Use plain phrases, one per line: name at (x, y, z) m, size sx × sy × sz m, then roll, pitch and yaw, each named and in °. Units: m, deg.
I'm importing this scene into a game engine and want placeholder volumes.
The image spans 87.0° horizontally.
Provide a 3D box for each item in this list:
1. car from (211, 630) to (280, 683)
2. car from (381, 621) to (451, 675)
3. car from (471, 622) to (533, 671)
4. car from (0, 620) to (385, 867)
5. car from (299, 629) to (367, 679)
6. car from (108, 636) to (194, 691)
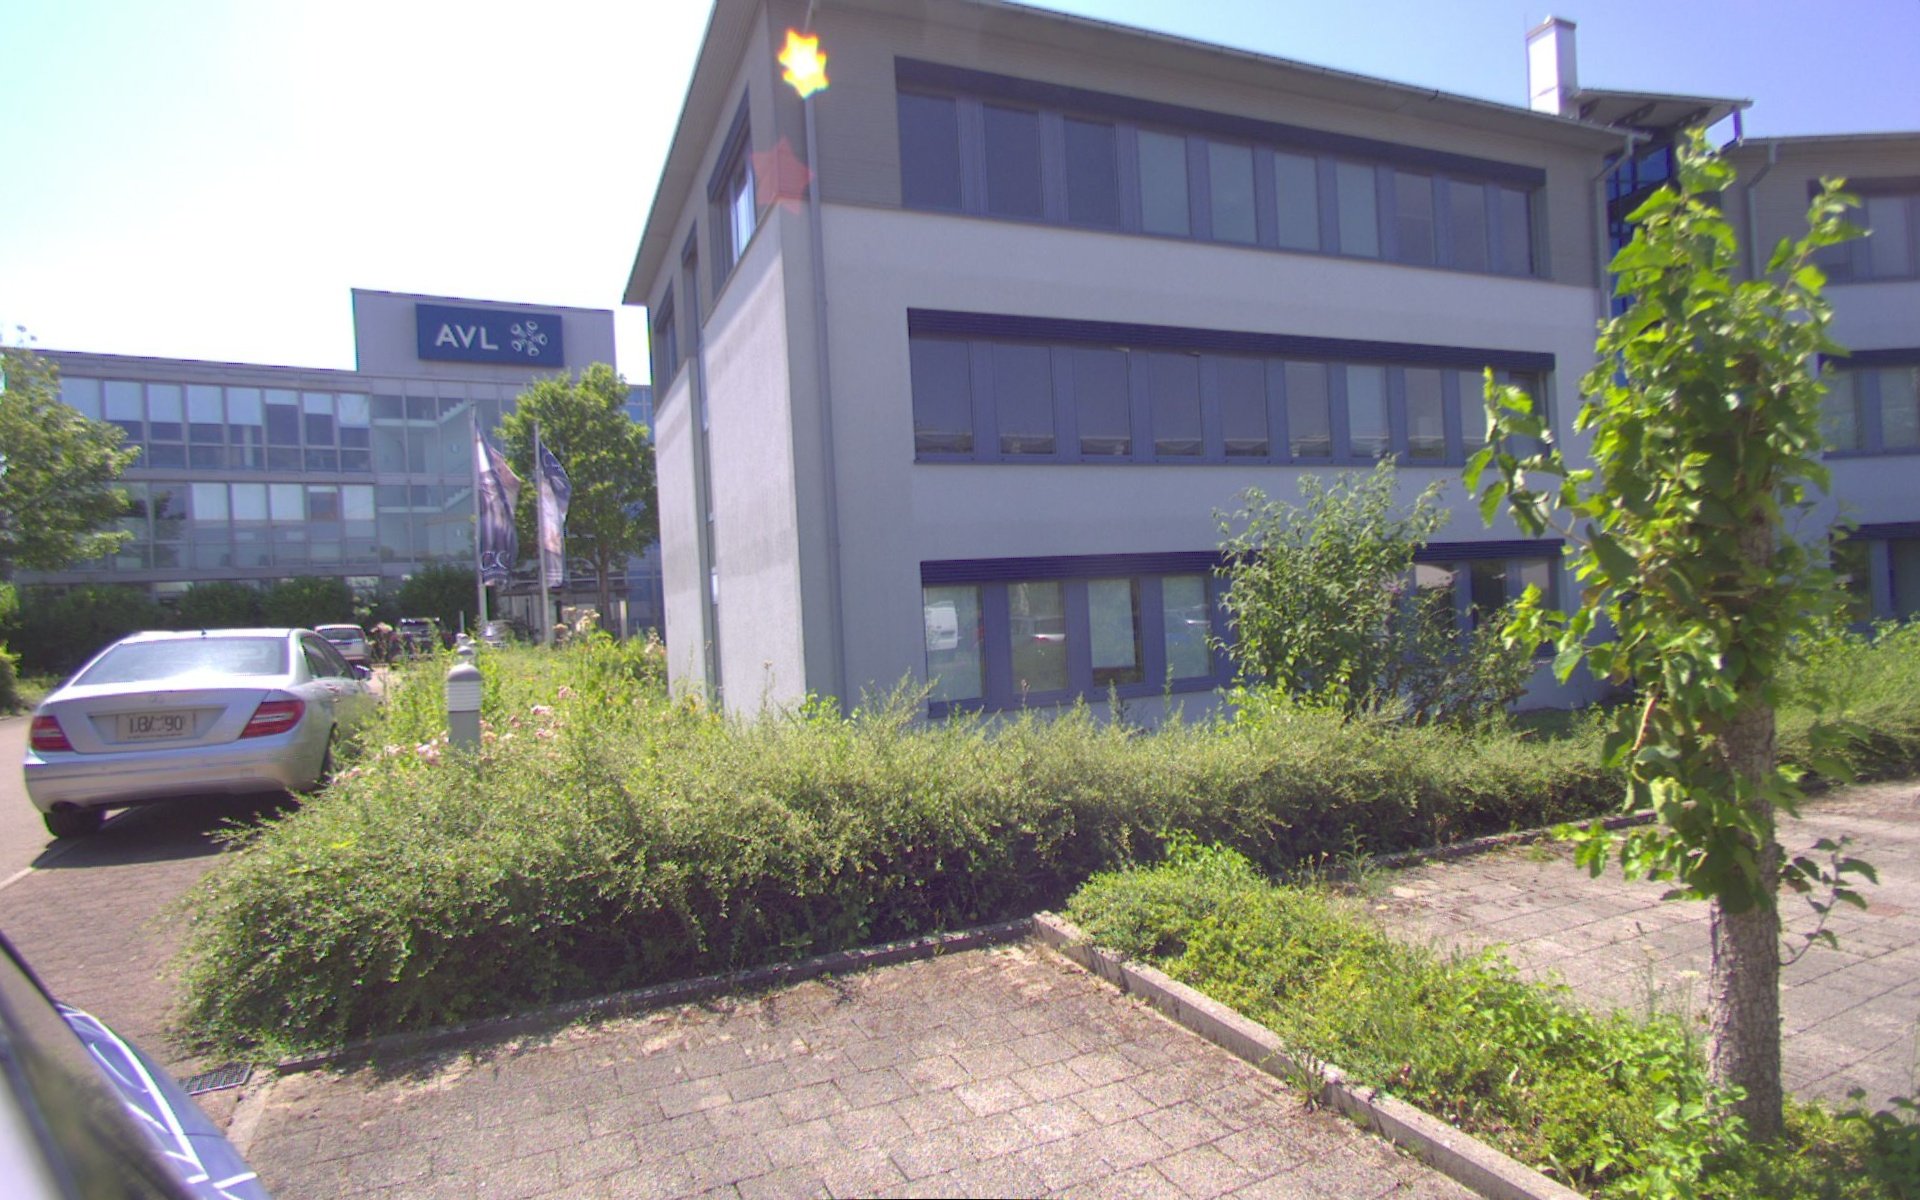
car at (-21.786, 1.687, 30.952) m, size 1.616 × 1.463 × 3.610 m, roll 0°, pitch -1°, yaw -34°
car at (-17.897, 1.519, 33.307) m, size 1.906 × 1.615 × 3.872 m, roll -1°, pitch -1°, yaw -28°
car at (-15.652, 1.538, 34.456) m, size 1.701 × 1.495 × 4.411 m, roll -2°, pitch -1°, yaw -27°
car at (-6.038, 0.947, 8.464) m, size 1.704 × 1.468 × 4.161 m, roll -1°, pitch -1°, yaw -24°
car at (-20.165, 1.692, 32.496) m, size 1.703 × 1.463 × 3.610 m, roll -1°, pitch -1°, yaw -34°
car at (-23.699, 1.808, 29.754) m, size 1.497 × 1.457 × 3.429 m, roll -1°, pitch -1°, yaw -30°
